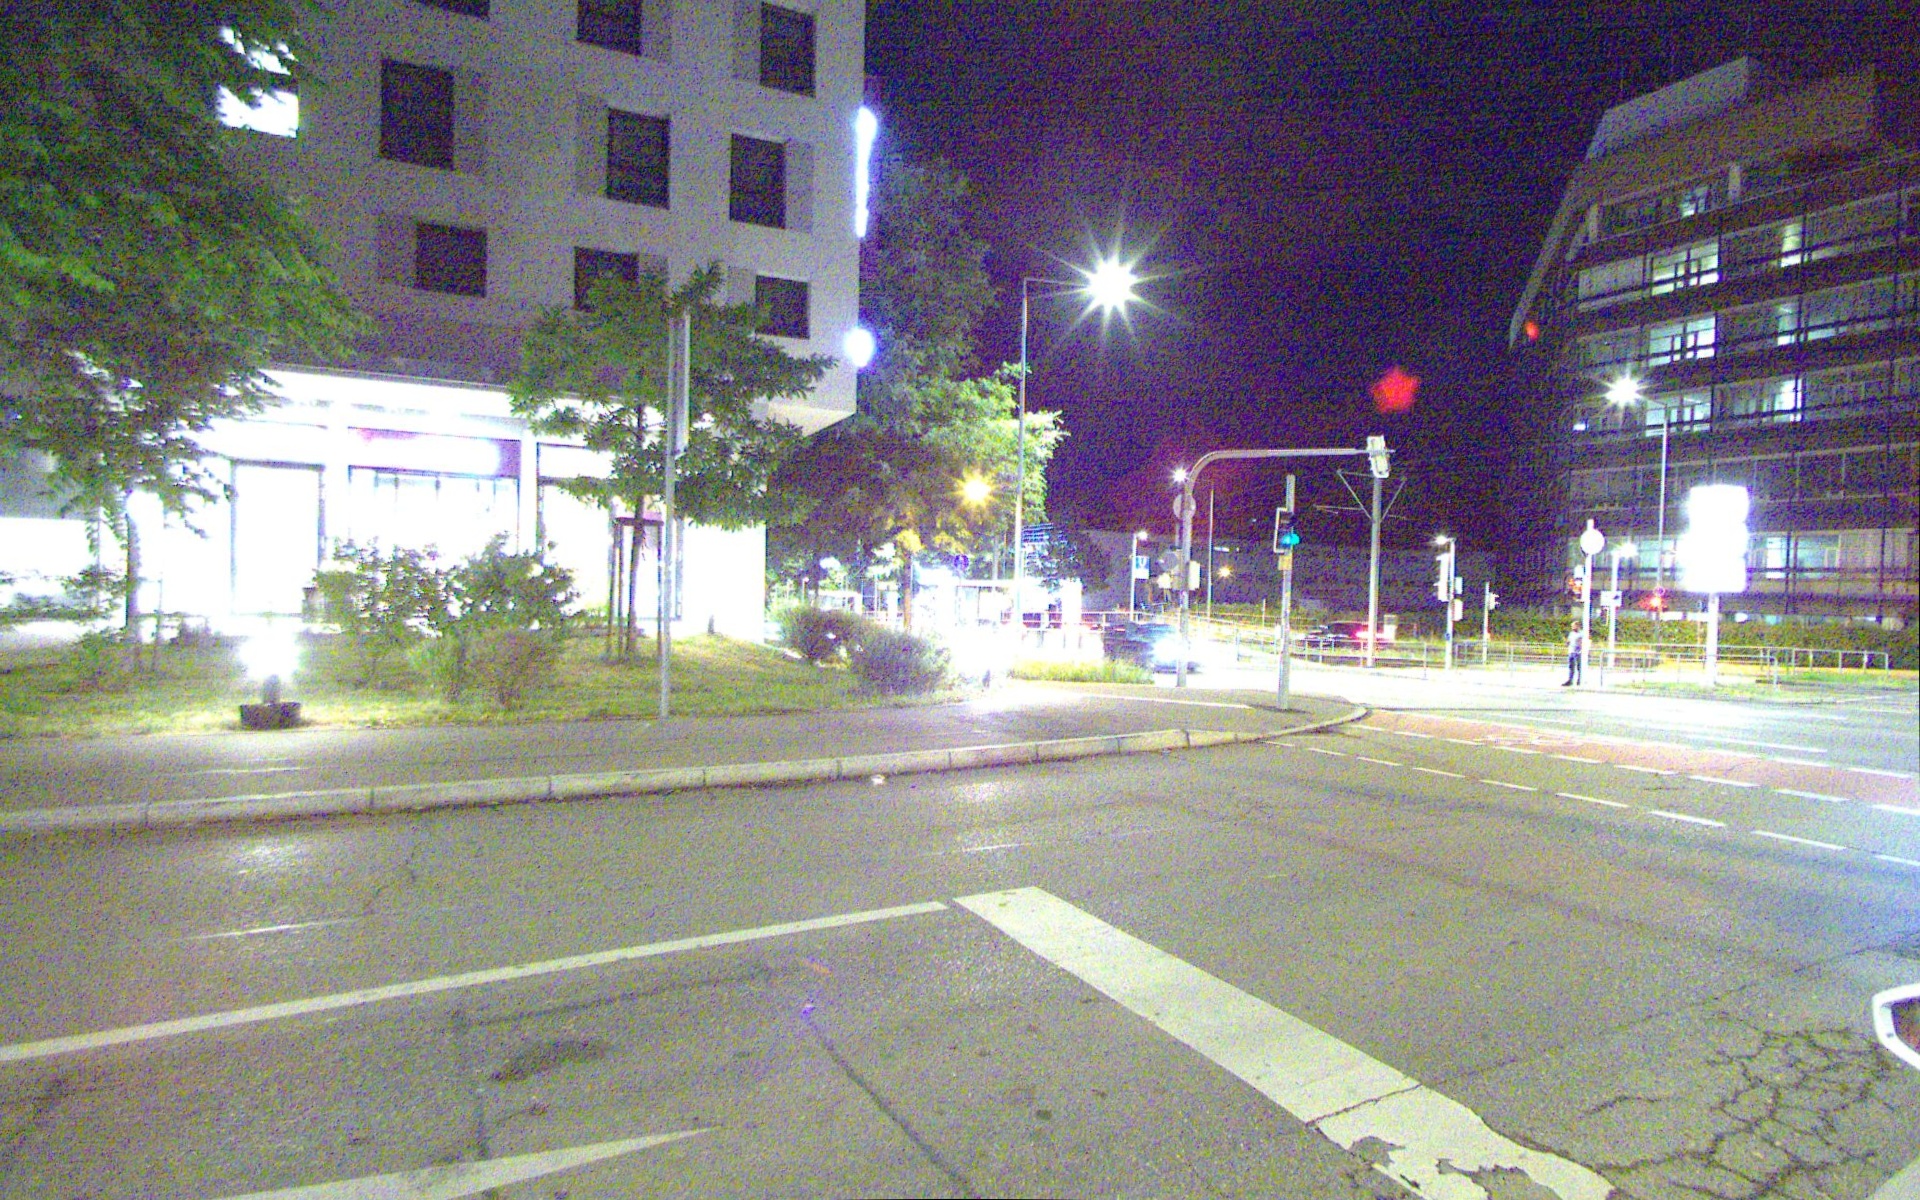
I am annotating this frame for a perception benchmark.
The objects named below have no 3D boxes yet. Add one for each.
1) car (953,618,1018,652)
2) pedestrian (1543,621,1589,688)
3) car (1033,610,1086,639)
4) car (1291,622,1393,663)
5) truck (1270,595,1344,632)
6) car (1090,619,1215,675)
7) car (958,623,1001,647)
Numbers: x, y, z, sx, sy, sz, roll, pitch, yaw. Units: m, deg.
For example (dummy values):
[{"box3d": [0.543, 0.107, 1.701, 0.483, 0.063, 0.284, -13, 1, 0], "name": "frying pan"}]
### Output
[{"box3d": [1.287, 1.816, 53.092, 1.837, 1.681, 4.436, 0, -1, -23], "name": "car"}, {"box3d": [15.593, 1.396, 25.843, 0.854, 1.656, 0.665, 2, 0, -34], "name": "pedestrian"}, {"box3d": [7.279, 1.809, 74.156, 1.974, 2.001, 4.168, 2, 0, -26], "name": "car"}, {"box3d": [18.702, 2.054, 49.434, 1.974, 1.751, 4.602, 2, 0, -26], "name": "car"}, {"box3d": [30.866, 1.188, 89.573, 2.877, 3.129, 5.873, 2, 0, -28], "name": "truck"}, {"box3d": [6.249, 1.520, 33.121, 1.786, 1.673, 4.328, -1, -1, -27], "name": "car"}, {"box3d": [1.667, 3.044, 86.888, 1.820, 1.837, 4.134, 3, -1, -29], "name": "car"}]
